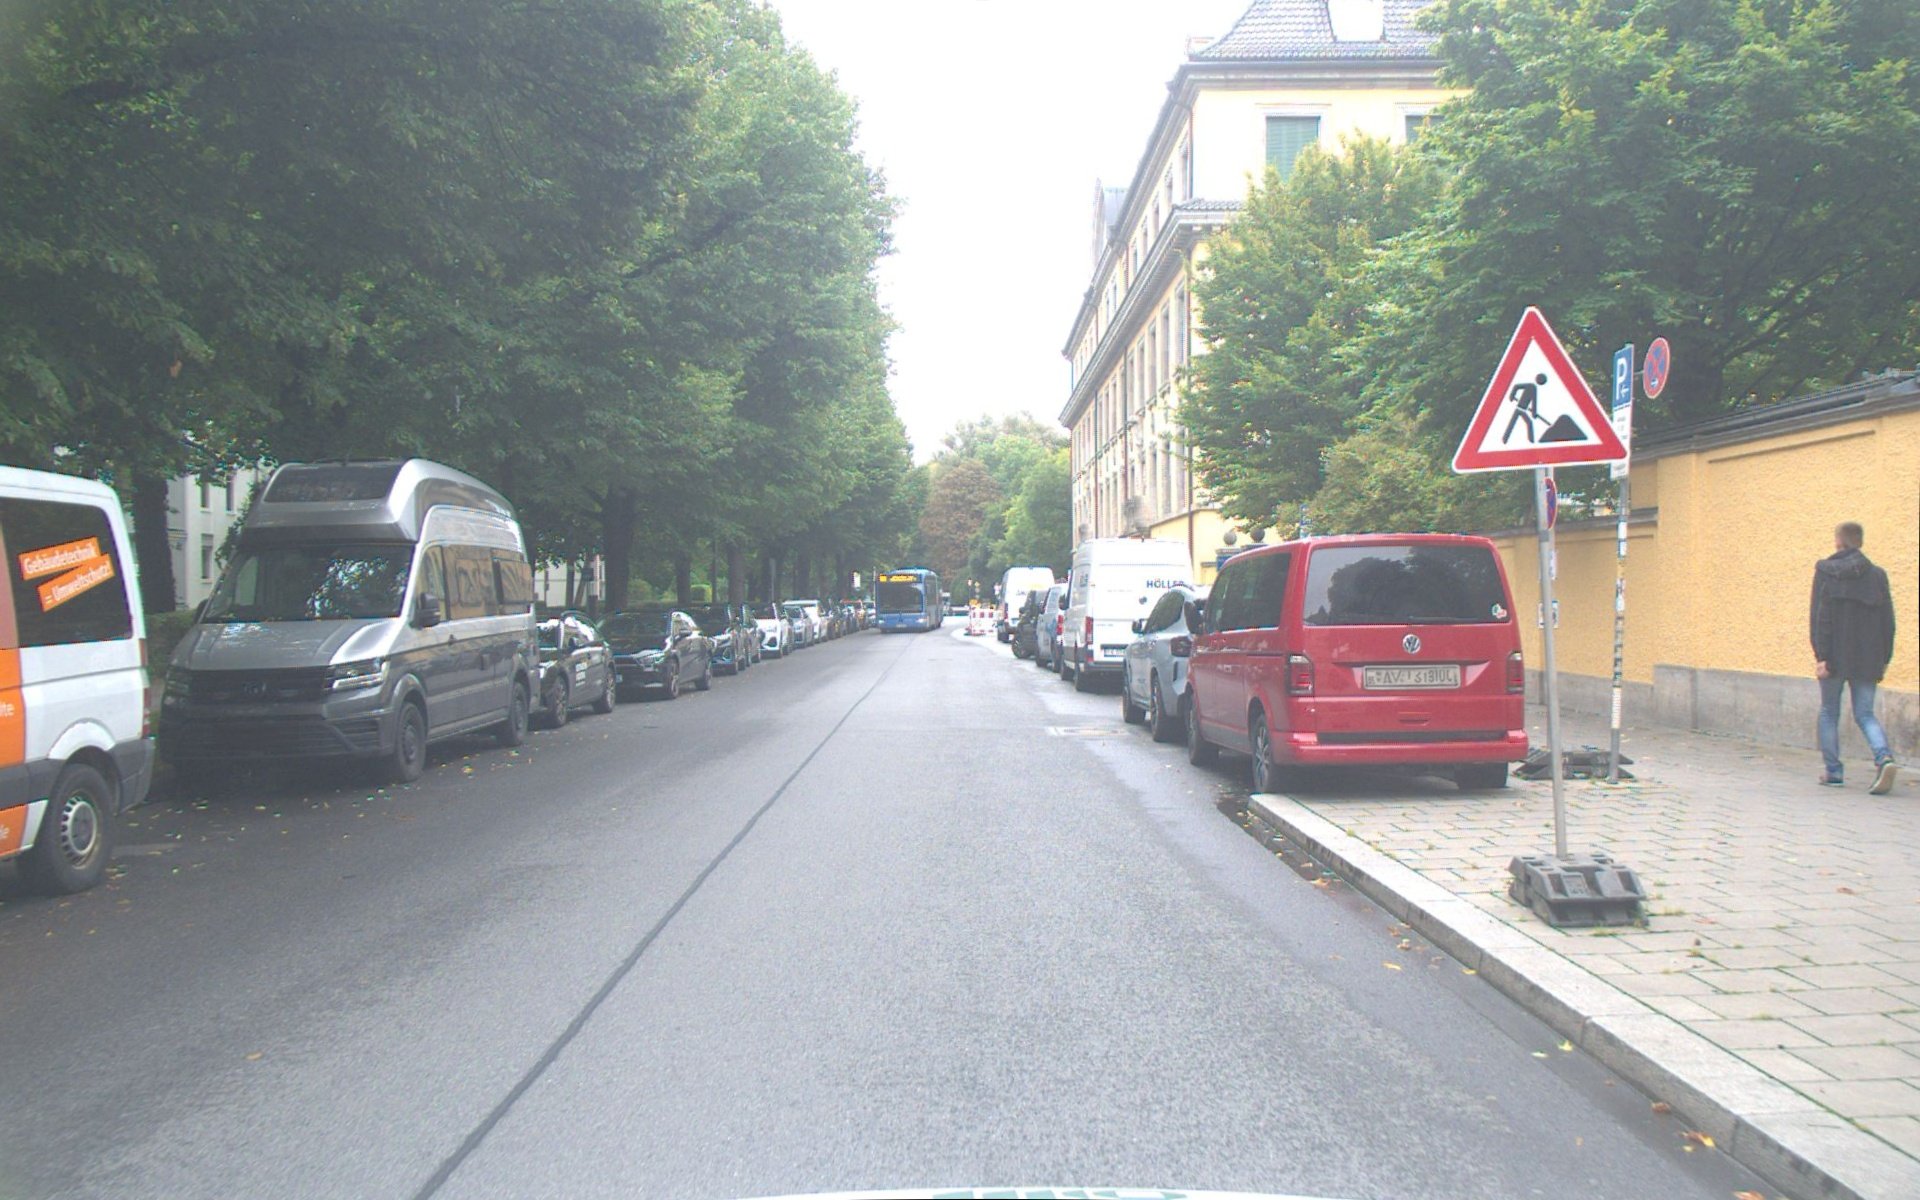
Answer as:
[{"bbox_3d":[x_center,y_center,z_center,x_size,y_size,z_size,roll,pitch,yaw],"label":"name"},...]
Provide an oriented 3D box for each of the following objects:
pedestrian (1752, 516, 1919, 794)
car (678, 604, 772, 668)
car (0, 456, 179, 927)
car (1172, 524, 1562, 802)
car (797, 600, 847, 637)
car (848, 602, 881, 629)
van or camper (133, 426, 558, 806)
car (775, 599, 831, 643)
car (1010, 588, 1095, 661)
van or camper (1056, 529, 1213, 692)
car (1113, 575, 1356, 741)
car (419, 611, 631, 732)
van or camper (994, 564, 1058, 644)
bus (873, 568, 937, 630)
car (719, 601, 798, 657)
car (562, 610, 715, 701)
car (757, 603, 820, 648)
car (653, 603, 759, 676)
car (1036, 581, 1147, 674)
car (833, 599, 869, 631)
[{"bbox_3d":[6.276,0.366,11.659,0.856,1.863,1.052,-1,0,0],"label":"pedestrian"},{"bbox_3d":[-5.858,0.865,41.604,1.815,1.499,3.999,-1,0,-1],"label":"car"},{"bbox_3d":[-5.674,0.473,7.373,1.907,2.312,5.242,-2,0,-1],"label":"car"},{"bbox_3d":[3.144,0.439,13.882,1.951,1.871,4.712,-2,0,-2],"label":"car"},{"bbox_3d":[-5.818,0.758,70.043,1.815,1.499,3.999,-1,0,-1],"label":"car"},{"bbox_3d":[-5.842,0.929,101.125,1.815,1.599,3.999,-1,0,-1],"label":"car"},{"bbox_3d":[-5.676,0.124,16.325,1.960,2.996,6.009,-2,0,-1],"label":"van or camper"},{"bbox_3d":[-5.977,0.772,63.378,1.815,1.591,3.999,-1,0,-1],"label":"car"},{"bbox_3d":[2.496,0.647,45.643,1.951,1.876,4.320,-2,0,-2],"label":"car"},{"bbox_3d":[2.993,0.176,29.529,2.088,2.590,5.242,-2,0,-1],"label":"van or camper"},{"bbox_3d":[3.018,0.593,19.140,1.951,1.637,4.320,-2,0,-2],"label":"car"},{"bbox_3d":[-5.734,0.888,22.304,1.836,1.441,3.999,-1,0,-1],"label":"car"},{"bbox_3d":[2.403,0.157,61.537,2.072,2.780,5.242,-2,0,-1],"label":"van or camper"},{"bbox_3d":[-2.714,-0.042,86.208,2.657,2.950,14.554,-1,0,1],"label":"bus"},{"bbox_3d":[-5.738,0.798,47.556,1.815,1.499,3.999,-1,0,-1],"label":"car"},{"bbox_3d":[-5.317,0.884,27.861,1.836,1.371,3.999,-1,0,-1],"label":"car"},{"bbox_3d":[-5.951,0.859,57.663,1.815,1.499,3.999,-1,0,-1],"label":"car"},{"bbox_3d":[-5.537,0.822,36.503,1.815,1.499,3.998,-1,0,-2],"label":"car"},{"bbox_3d":[2.854,0.582,36.721,1.951,1.876,4.320,-2,0,-2],"label":"car"},{"bbox_3d":[-6.068,0.838,92.395,1.815,1.731,3.999,-1,0,-1],"label":"car"}]
